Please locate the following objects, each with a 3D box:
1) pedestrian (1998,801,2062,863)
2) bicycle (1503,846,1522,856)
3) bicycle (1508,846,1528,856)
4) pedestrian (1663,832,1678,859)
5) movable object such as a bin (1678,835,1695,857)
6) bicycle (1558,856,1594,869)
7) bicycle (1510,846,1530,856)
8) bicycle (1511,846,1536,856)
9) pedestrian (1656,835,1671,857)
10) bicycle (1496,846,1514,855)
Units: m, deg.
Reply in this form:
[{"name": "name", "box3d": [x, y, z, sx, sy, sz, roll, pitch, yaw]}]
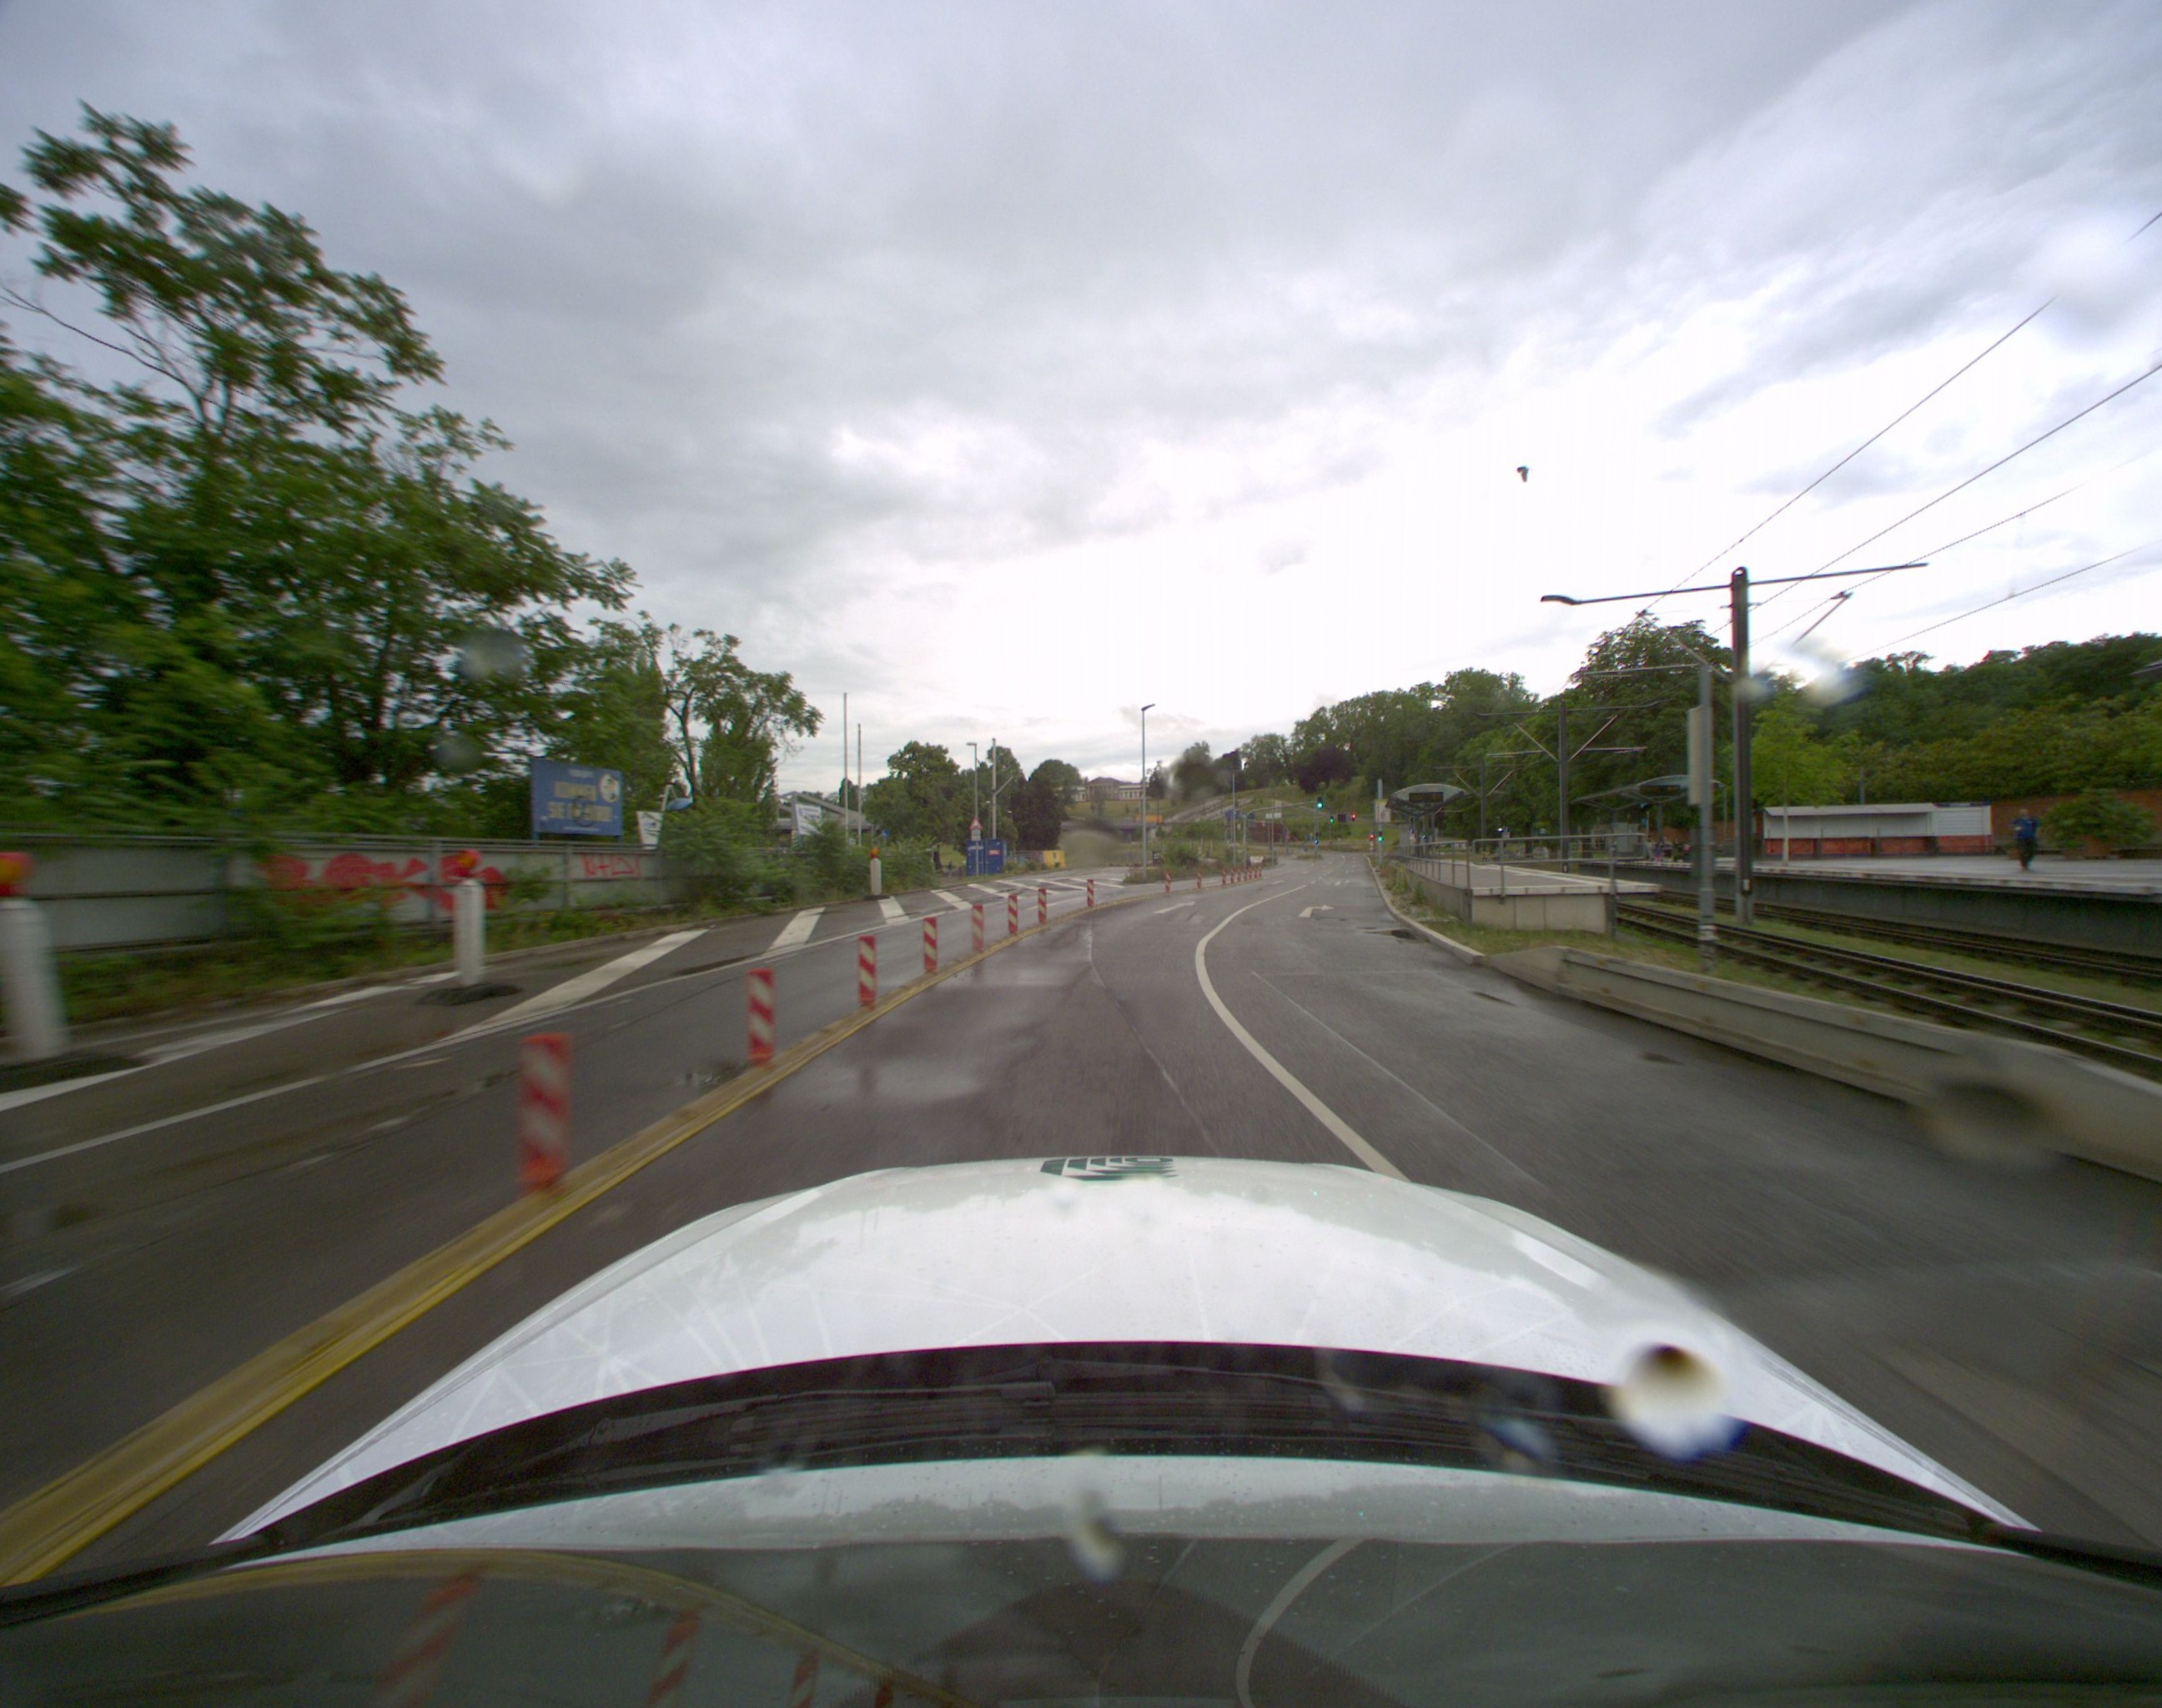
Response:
[{"name": "pedestrian", "box3d": [28.439, -0.660, 24.420, 0.714, 1.790, 1.188, -2, 0, 20]}, {"name": "bicycle", "box3d": [48.123, -0.321, 90.892, 1.796, 1.032, 0.656, -1, 0, 17]}, {"name": "bicycle", "box3d": [48.276, -0.312, 89.980, 1.832, 1.032, 0.656, -1, 0, 17]}, {"name": "pedestrian", "box3d": [27.744, -0.404, 38.332, 0.433, 1.226, 0.554, -1, -1, 20]}, {"name": "movable object such as a bin", "box3d": [27.623, -0.358, 37.159, 0.433, 1.009, 0.685, -1, 0, 20]}, {"name": "bicycle", "box3d": [38.983, 0.673, 64.131, 2.303, 0.957, 0.573, -1, 0, 18]}, {"name": "bicycle", "box3d": [48.086, -0.293, 89.166, 1.796, 1.032, 0.656, -1, 0, 17]}, {"name": "bicycle", "box3d": [47.491, -0.272, 87.451, 2.205, 1.032, 0.692, -1, 0, 17]}, {"name": "pedestrian", "box3d": [26.905, -0.371, 37.622, 0.433, 1.009, 0.554, -1, -1, 20]}, {"name": "bicycle", "box3d": [50.126, -0.405, 96.289, 1.796, 1.032, 0.656, -1, 0, 17]}]
